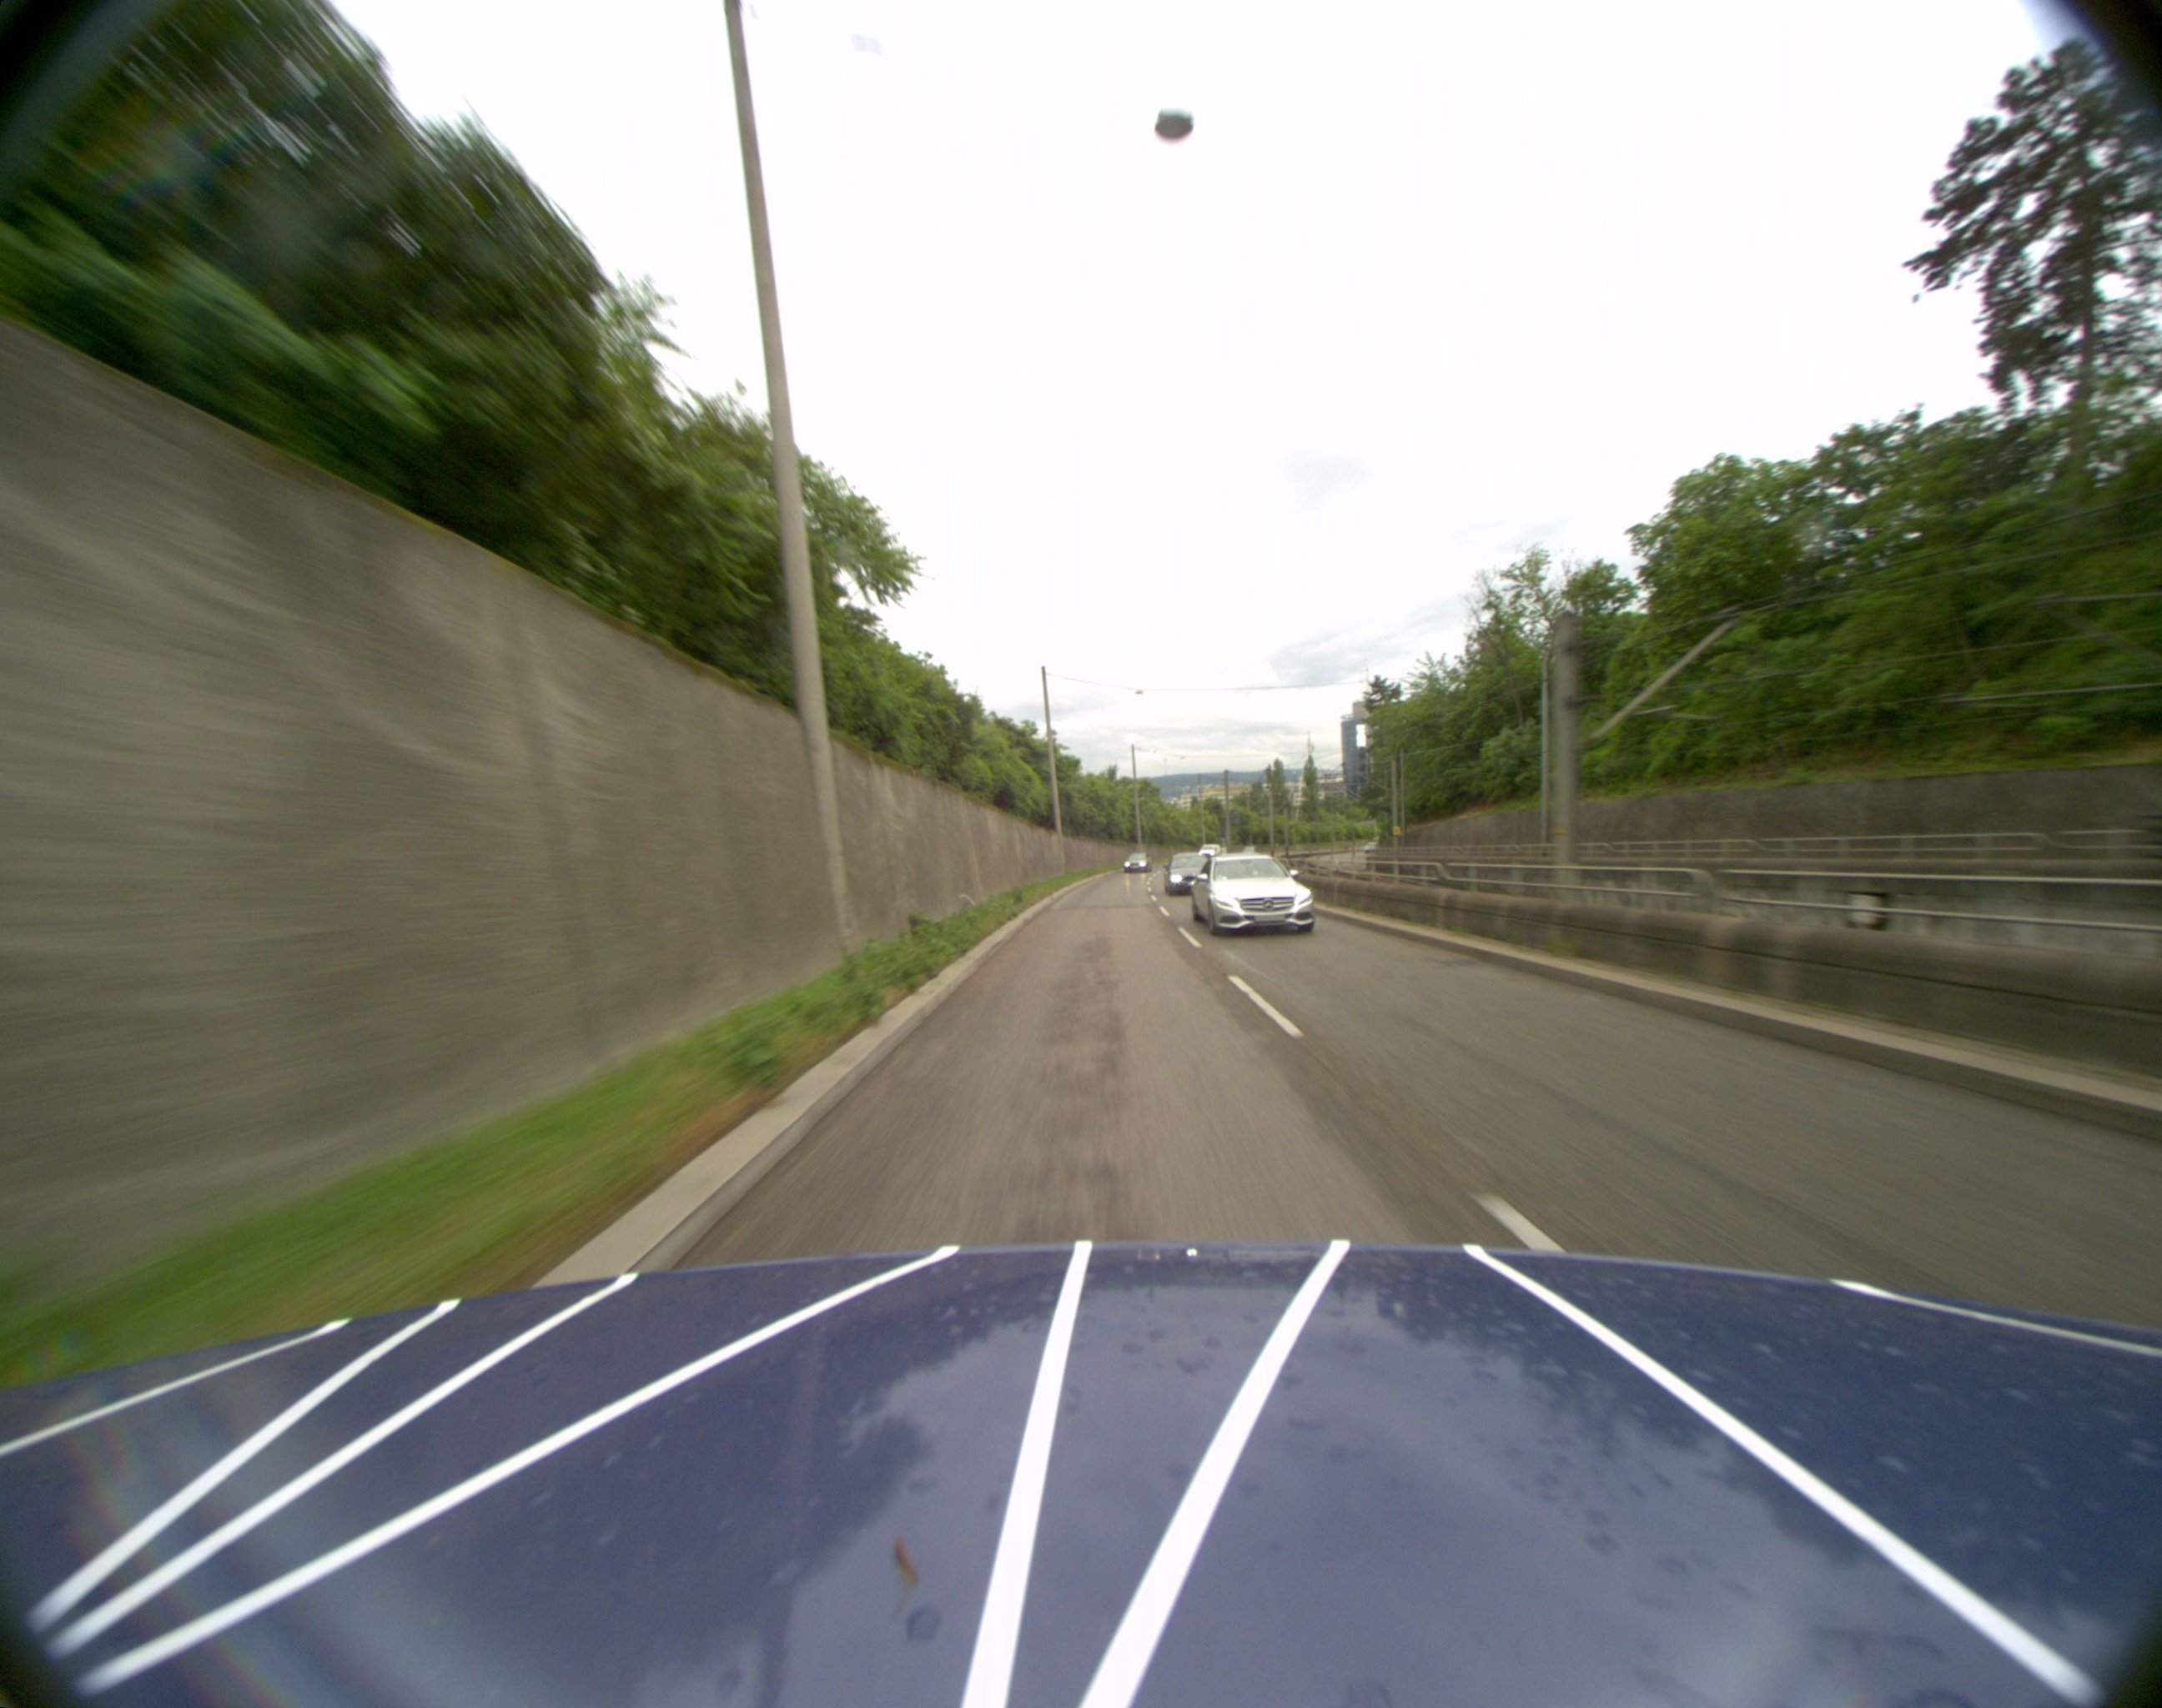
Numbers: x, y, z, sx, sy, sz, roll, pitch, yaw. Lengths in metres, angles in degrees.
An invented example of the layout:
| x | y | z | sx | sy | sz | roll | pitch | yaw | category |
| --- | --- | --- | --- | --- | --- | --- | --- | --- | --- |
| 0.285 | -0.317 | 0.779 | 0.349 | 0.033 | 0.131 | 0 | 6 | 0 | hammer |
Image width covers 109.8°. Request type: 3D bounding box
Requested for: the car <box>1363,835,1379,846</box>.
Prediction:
| x | y | z | sx | sy | sz | roll | pitch | yaw | category |
| --- | --- | --- | --- | --- | --- | --- | --- | --- | --- |
| 46.144 | -2.102 | 120.731 | 1.936 | 1.674 | 4.415 | -1 | 1 | 26 | car |

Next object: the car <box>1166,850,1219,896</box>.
| x | y | z | sx | sy | sz | roll | pitch | yaw | category |
| --- | --- | --- | --- | --- | --- | --- | --- | --- | --- |
| 3.983 | 0.640 | 27.582 | 1.729 | 1.462 | 3.889 | -2 | 0 | 6 | car |

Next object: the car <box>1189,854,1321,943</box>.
| x | y | z | sx | sy | sz | roll | pitch | yaw | category |
| --- | --- | --- | --- | --- | --- | --- | --- | --- | --- |
| 3.250 | 0.758 | 15.046 | 1.861 | 1.395 | 4.315 | -2 | 1 | 4 | car |

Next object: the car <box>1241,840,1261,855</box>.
| x | y | z | sx | sy | sz | roll | pitch | yaw | category |
| --- | --- | --- | --- | --- | --- | --- | --- | --- | --- |
| 23.567 | -0.892 | 105.234 | 1.995 | 2.002 | 4.500 | -1 | 1 | 21 | car |

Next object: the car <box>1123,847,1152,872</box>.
| x | y | z | sx | sy | sz | roll | pitch | yaw | category |
| --- | --- | --- | --- | --- | --- | --- | --- | --- | --- |
| 4.184 | 0.372 | 56.653 | 1.810 | 1.501 | 3.998 | -4 | 2 | 0 | car |

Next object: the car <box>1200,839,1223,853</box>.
| x | y | z | sx | sy | sz | roll | pitch | yaw | category |
| --- | --- | --- | --- | --- | --- | --- | --- | --- | --- |
| 16.480 | -1.021 | 95.689 | 1.807 | 1.501 | 4.004 | -3 | 3 | 24 | car |
